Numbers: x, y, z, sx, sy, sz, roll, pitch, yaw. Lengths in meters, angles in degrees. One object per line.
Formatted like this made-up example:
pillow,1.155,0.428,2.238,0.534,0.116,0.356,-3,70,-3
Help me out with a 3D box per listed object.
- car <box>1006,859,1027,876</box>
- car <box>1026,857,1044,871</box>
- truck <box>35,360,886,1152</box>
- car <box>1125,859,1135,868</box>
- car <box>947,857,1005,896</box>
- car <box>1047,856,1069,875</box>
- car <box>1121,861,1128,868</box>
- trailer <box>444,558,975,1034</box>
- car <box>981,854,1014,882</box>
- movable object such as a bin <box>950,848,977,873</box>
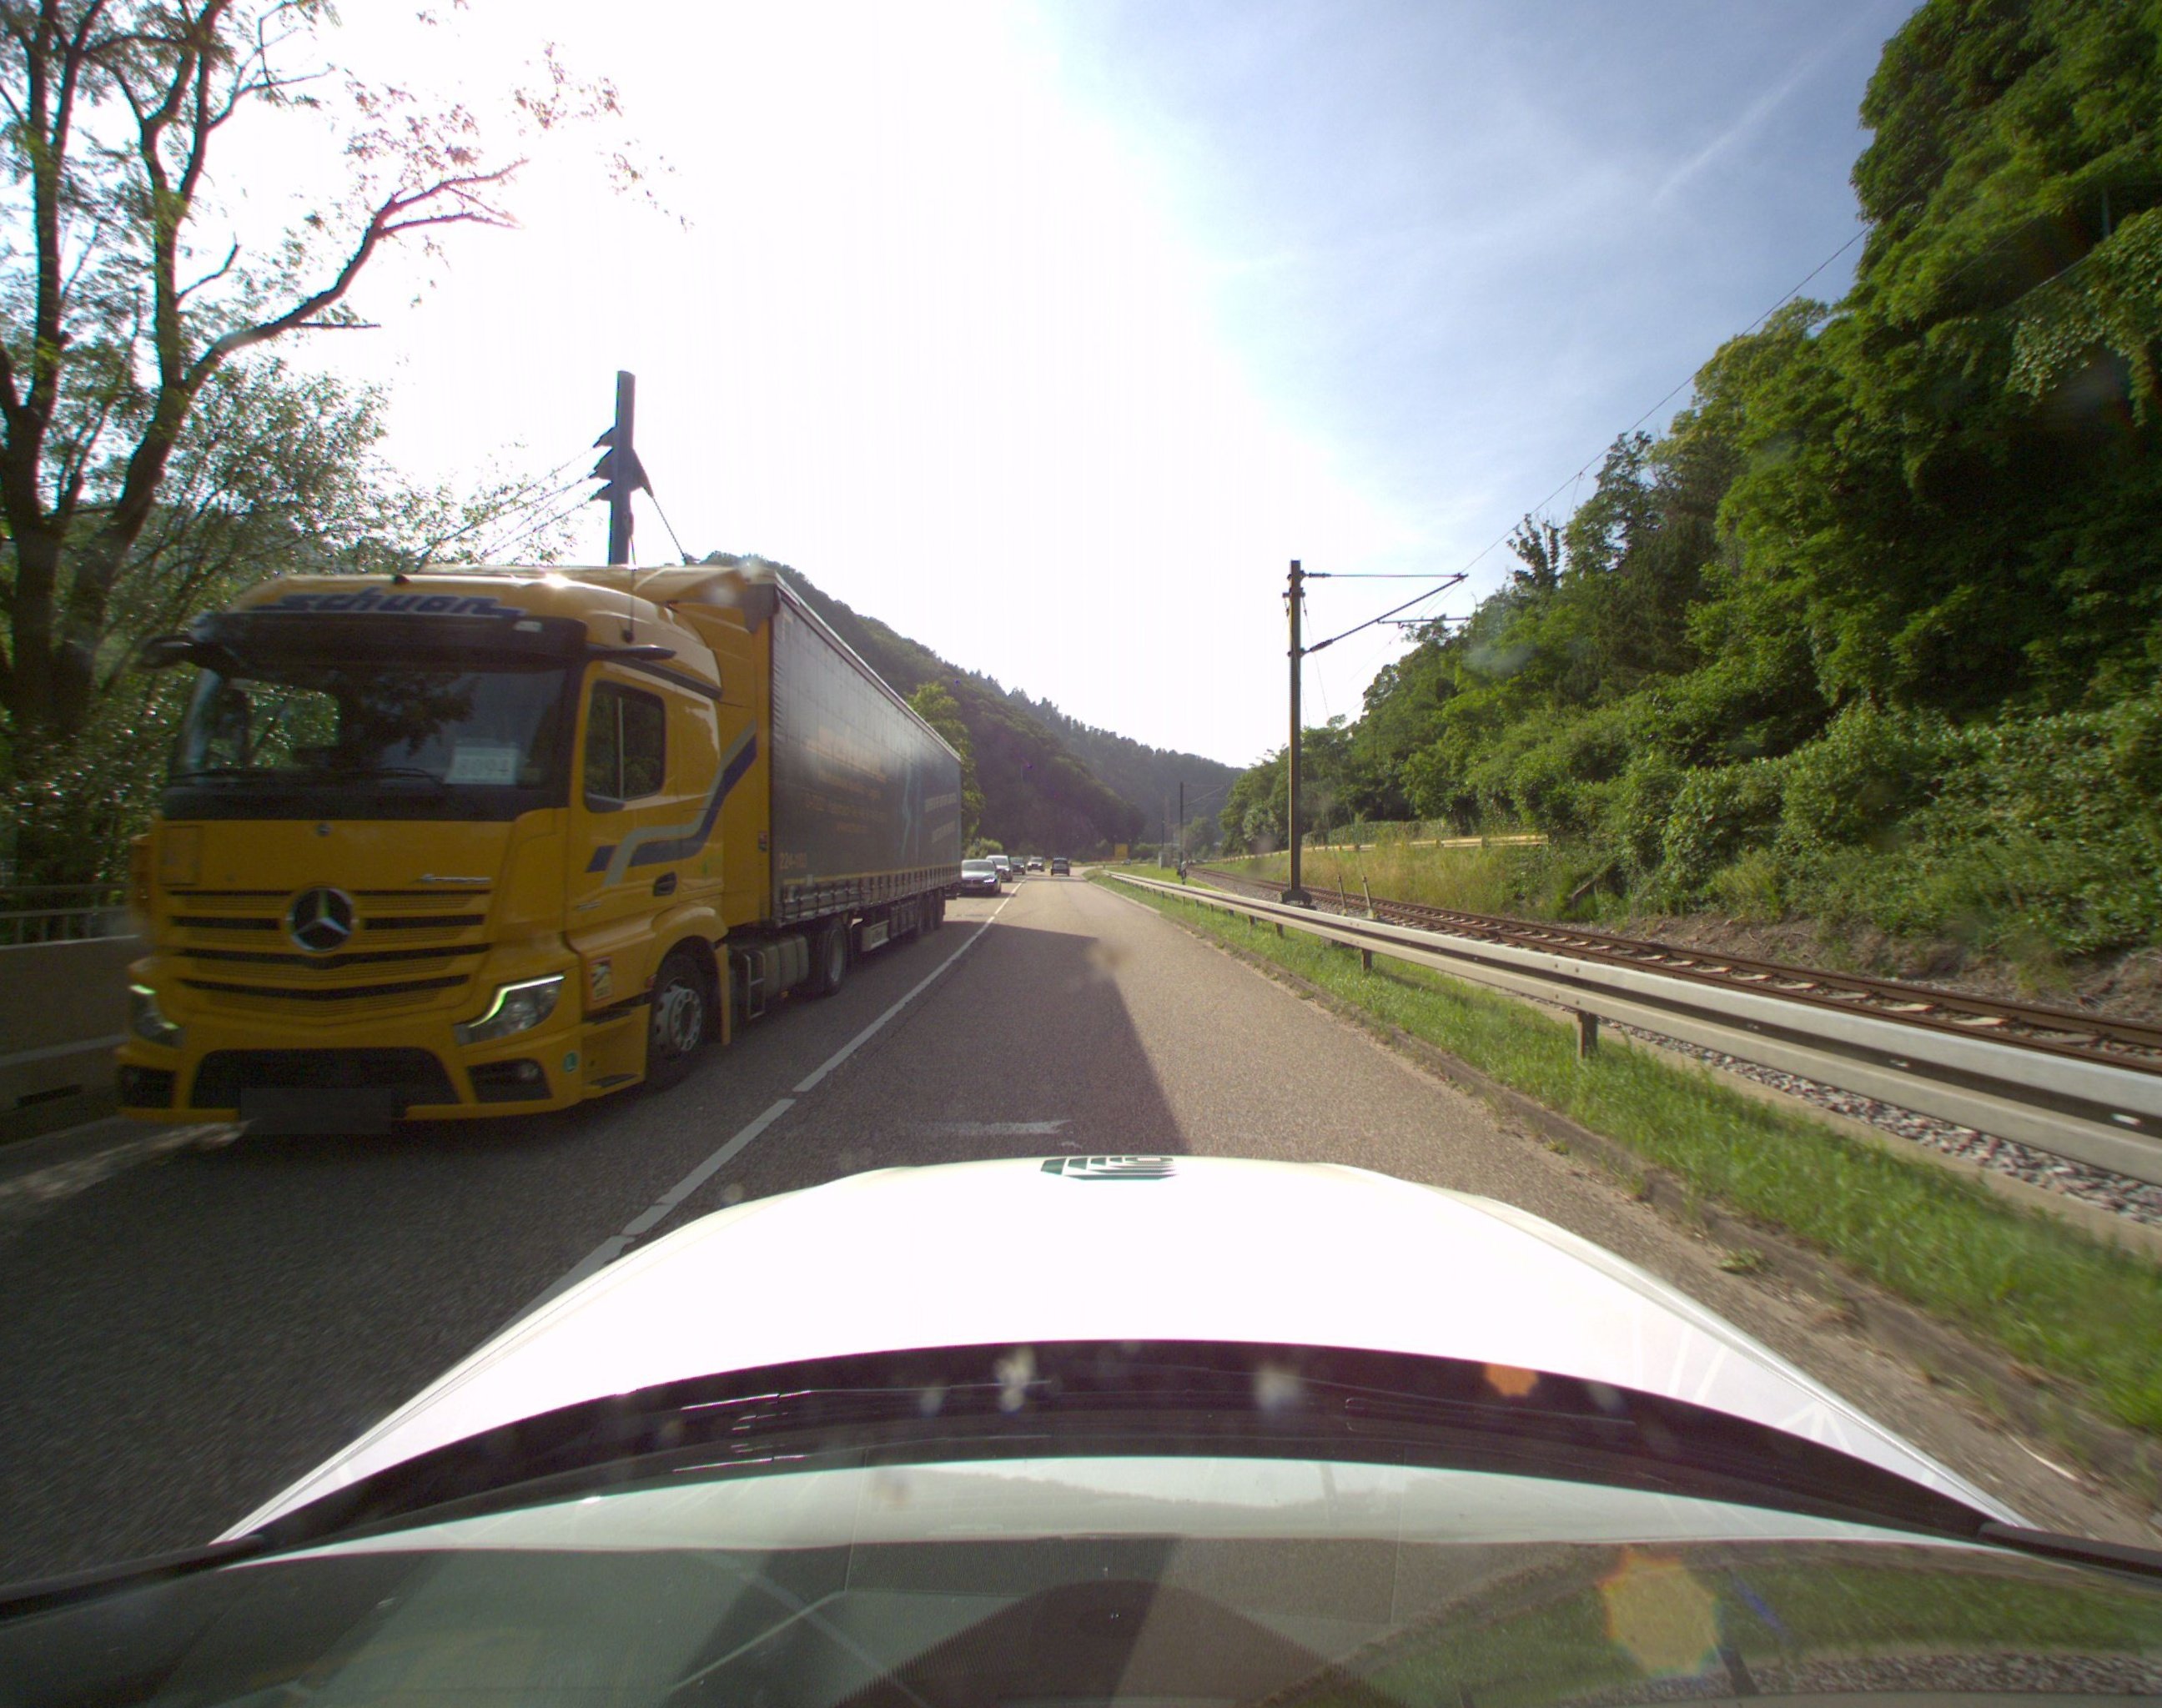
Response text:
car,-6.021,1.226,76.242,1.794,1.556,4.327,1,0,-3
car,-5.525,1.169,98.339,1.988,1.629,4.504,1,0,-2
truck,-3.966,-0.511,7.401,2.732,4.028,6.411,-1,0,0
car,11.378,2.101,189.390,1.984,2.014,4.005,-1,-1,5
car,-4.320,0.906,34.071,1.831,1.496,4.933,0,-1,-1
car,-2.143,1.107,76.972,1.988,1.723,3.987,-1,-1,-1
car,11.711,2.678,218.017,1.842,1.785,4.690,2,0,4
trailer,-4.055,-0.484,13.781,2.848,4.013,13.663,-1,0,-1
car,-5.291,0.856,52.060,1.769,1.670,4.643,-1,0,-2
movable object such as a bin,-19.603,1.093,136.477,2.689,3.947,9.994,-1,-1,2
